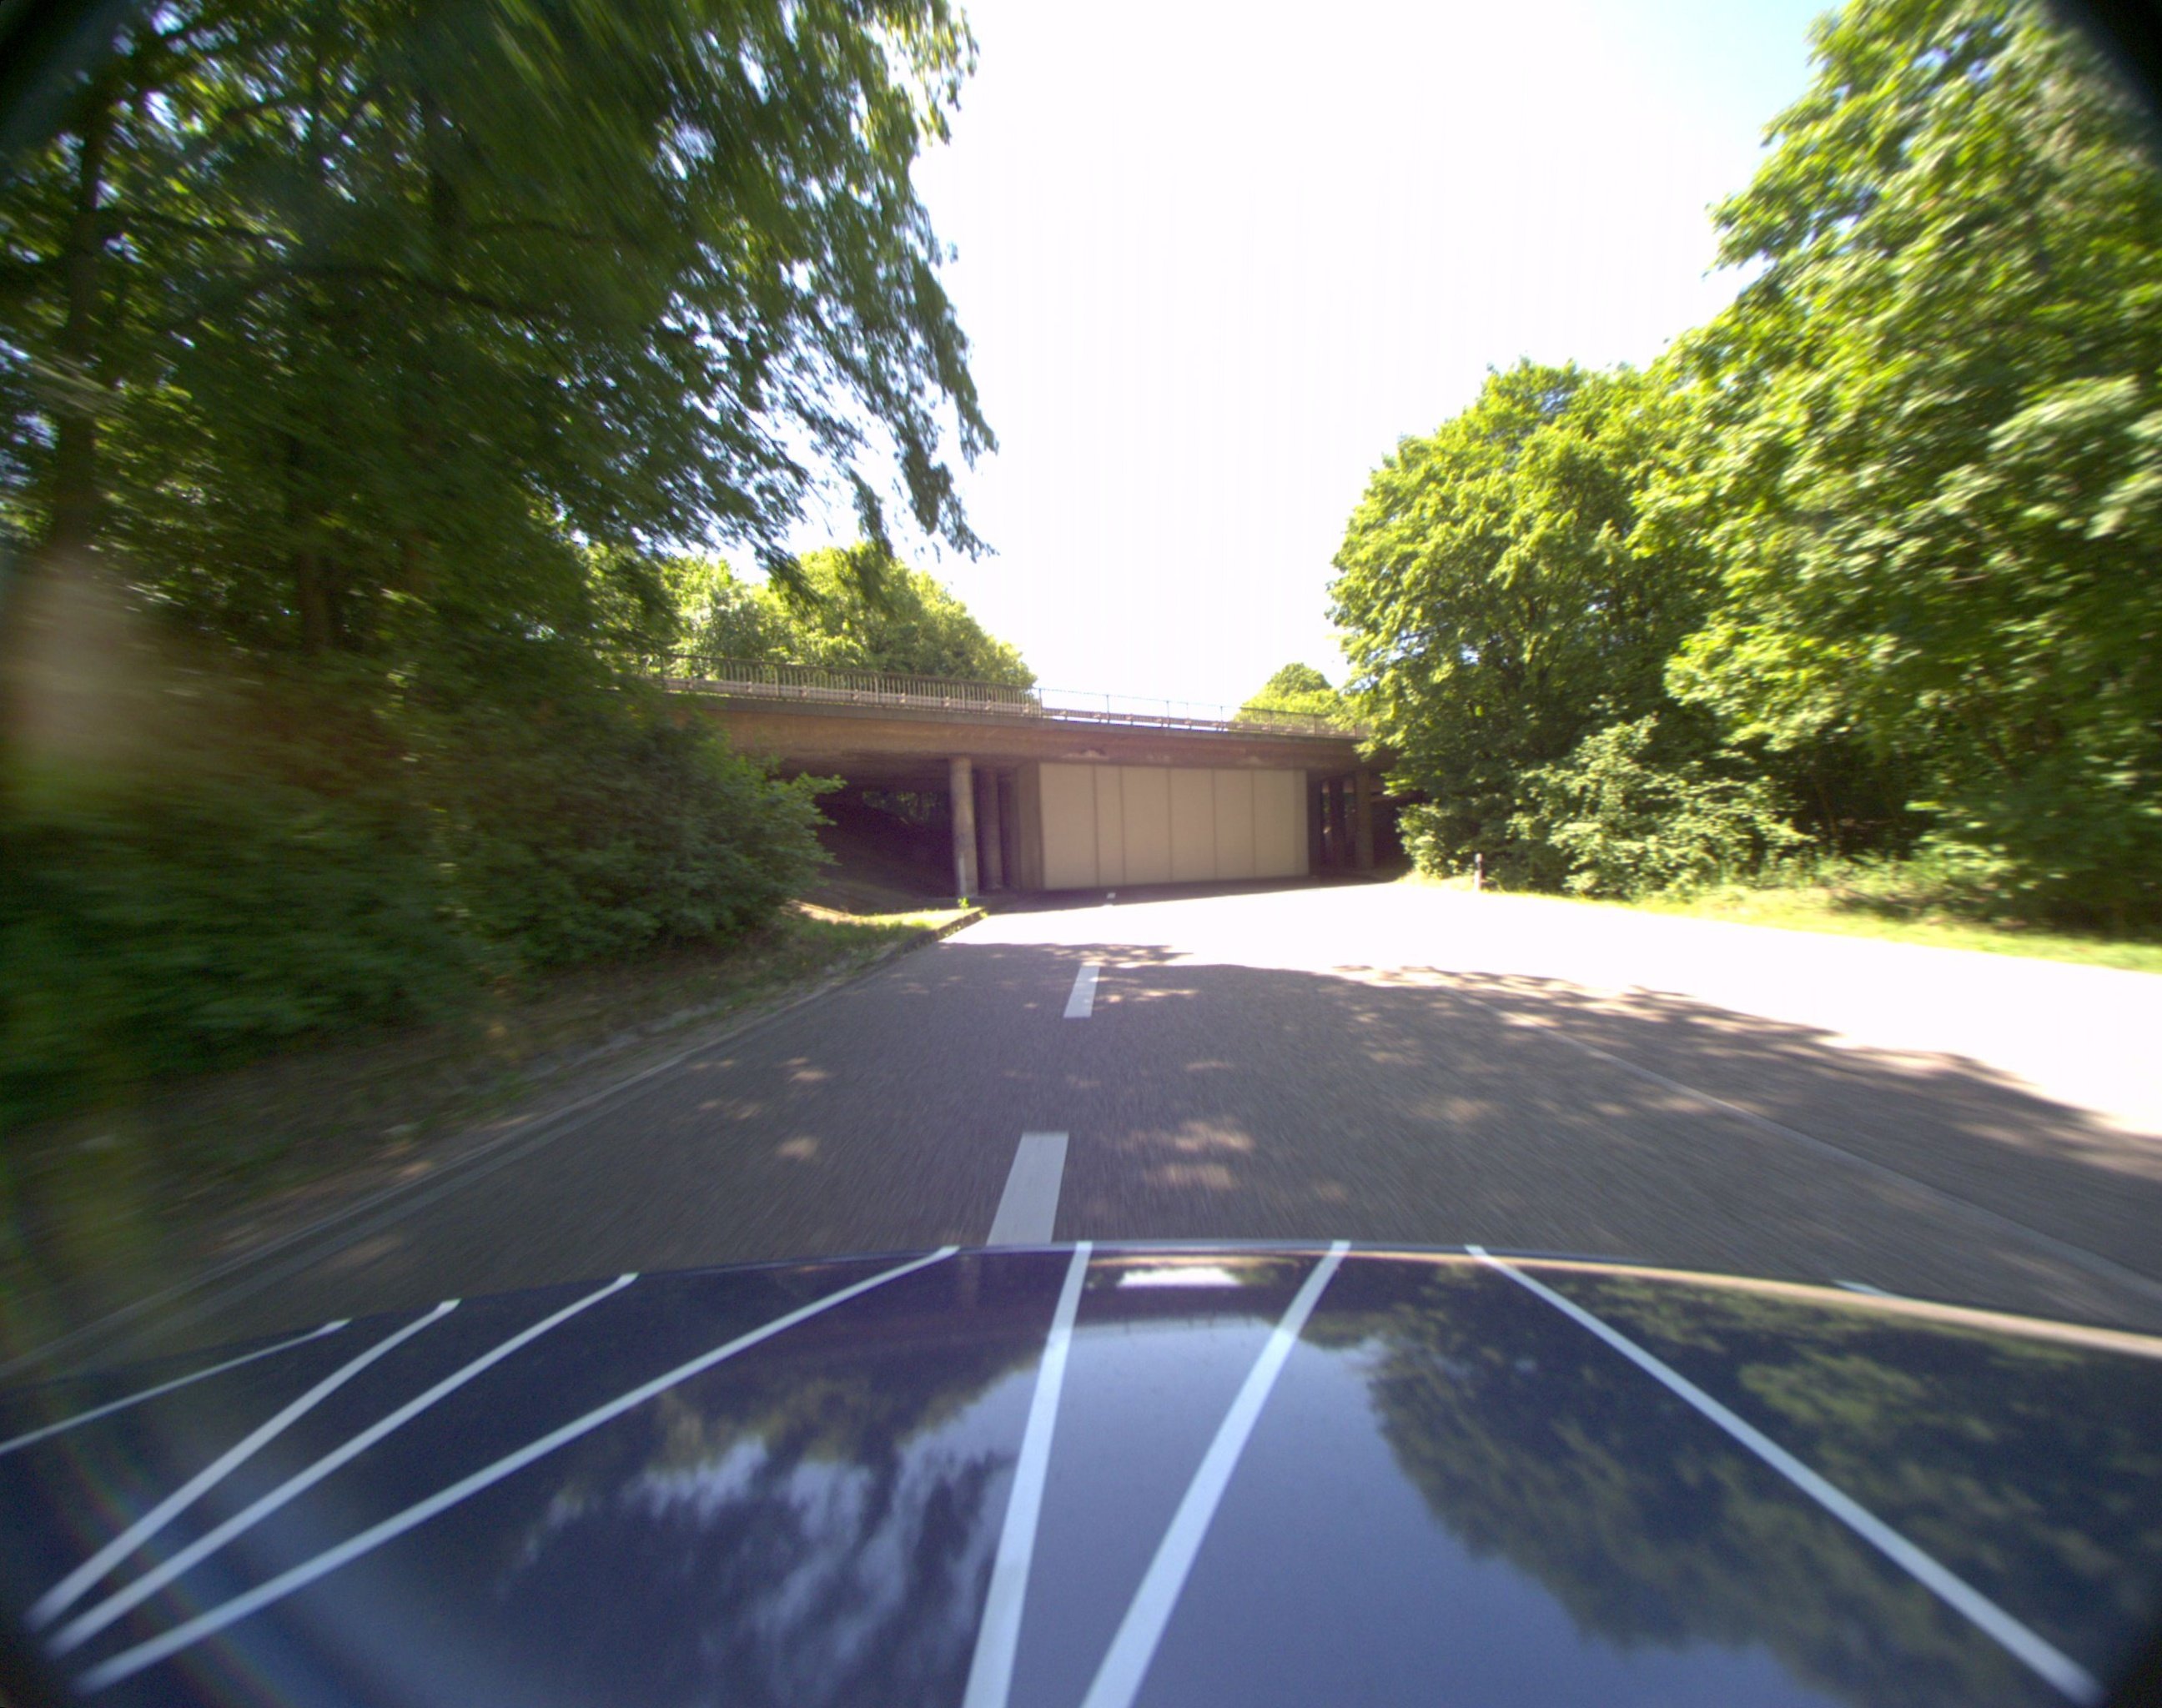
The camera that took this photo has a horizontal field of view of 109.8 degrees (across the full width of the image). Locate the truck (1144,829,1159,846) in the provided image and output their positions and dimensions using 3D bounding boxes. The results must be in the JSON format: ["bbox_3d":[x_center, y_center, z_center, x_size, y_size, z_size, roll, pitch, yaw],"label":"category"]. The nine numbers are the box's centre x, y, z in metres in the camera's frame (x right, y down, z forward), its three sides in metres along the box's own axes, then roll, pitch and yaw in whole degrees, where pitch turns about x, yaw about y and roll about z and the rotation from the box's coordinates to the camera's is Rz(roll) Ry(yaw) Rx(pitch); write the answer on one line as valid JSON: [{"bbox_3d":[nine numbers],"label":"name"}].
[{"bbox_3d":[12.779,-2.940,137.757,2.457,2.927,6.975,-1,1,4],"label":"truck"}]

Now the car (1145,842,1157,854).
[{"bbox_3d":[10.829,-0.915,117.661,1.746,1.833,4.000,-1,1,4],"label":"car"}]
